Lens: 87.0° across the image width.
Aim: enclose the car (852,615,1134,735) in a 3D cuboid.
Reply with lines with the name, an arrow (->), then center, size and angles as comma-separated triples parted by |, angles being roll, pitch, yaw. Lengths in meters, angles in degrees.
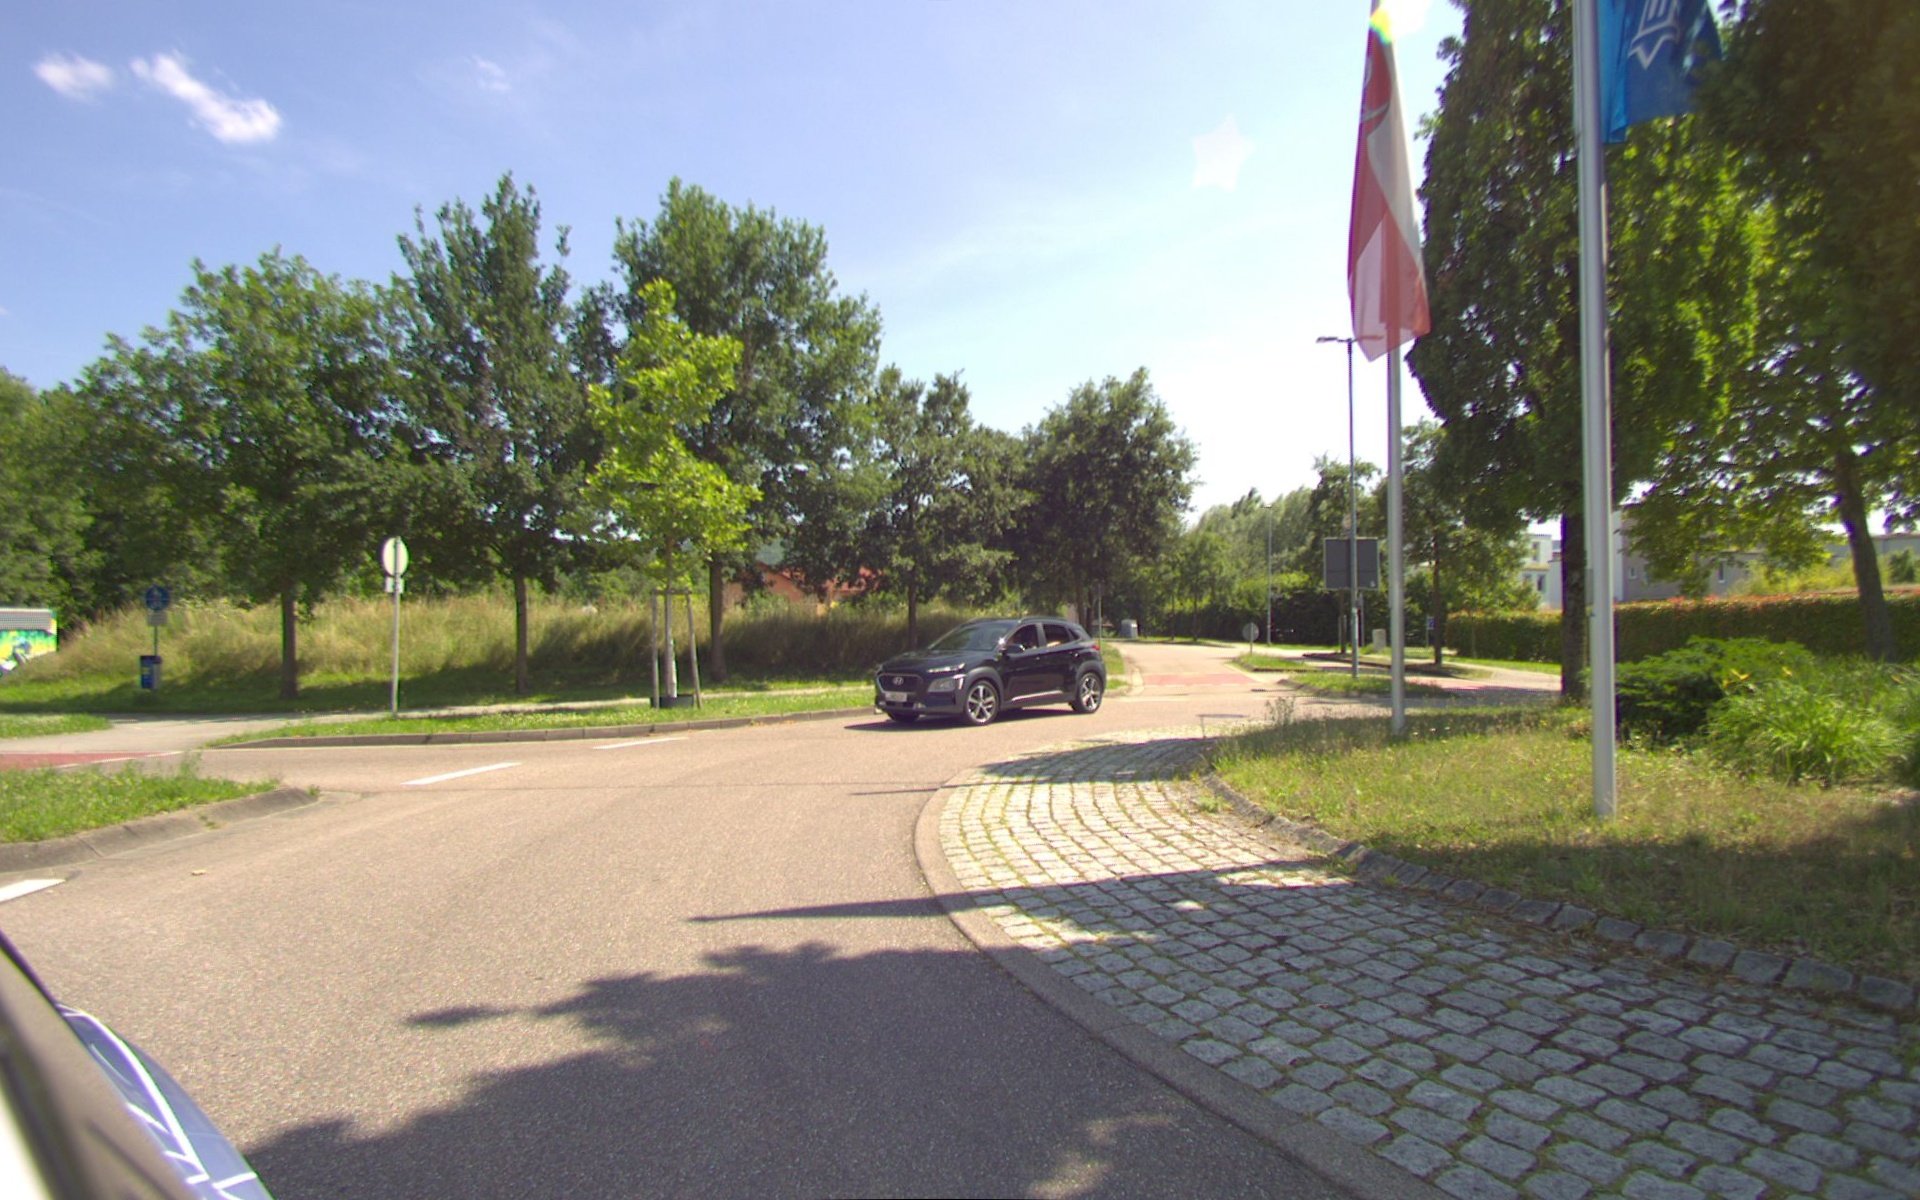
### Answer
car -> 0.637, 1.065, 15.664 | 1.867, 1.581, 4.421 | -3, -3, 44
